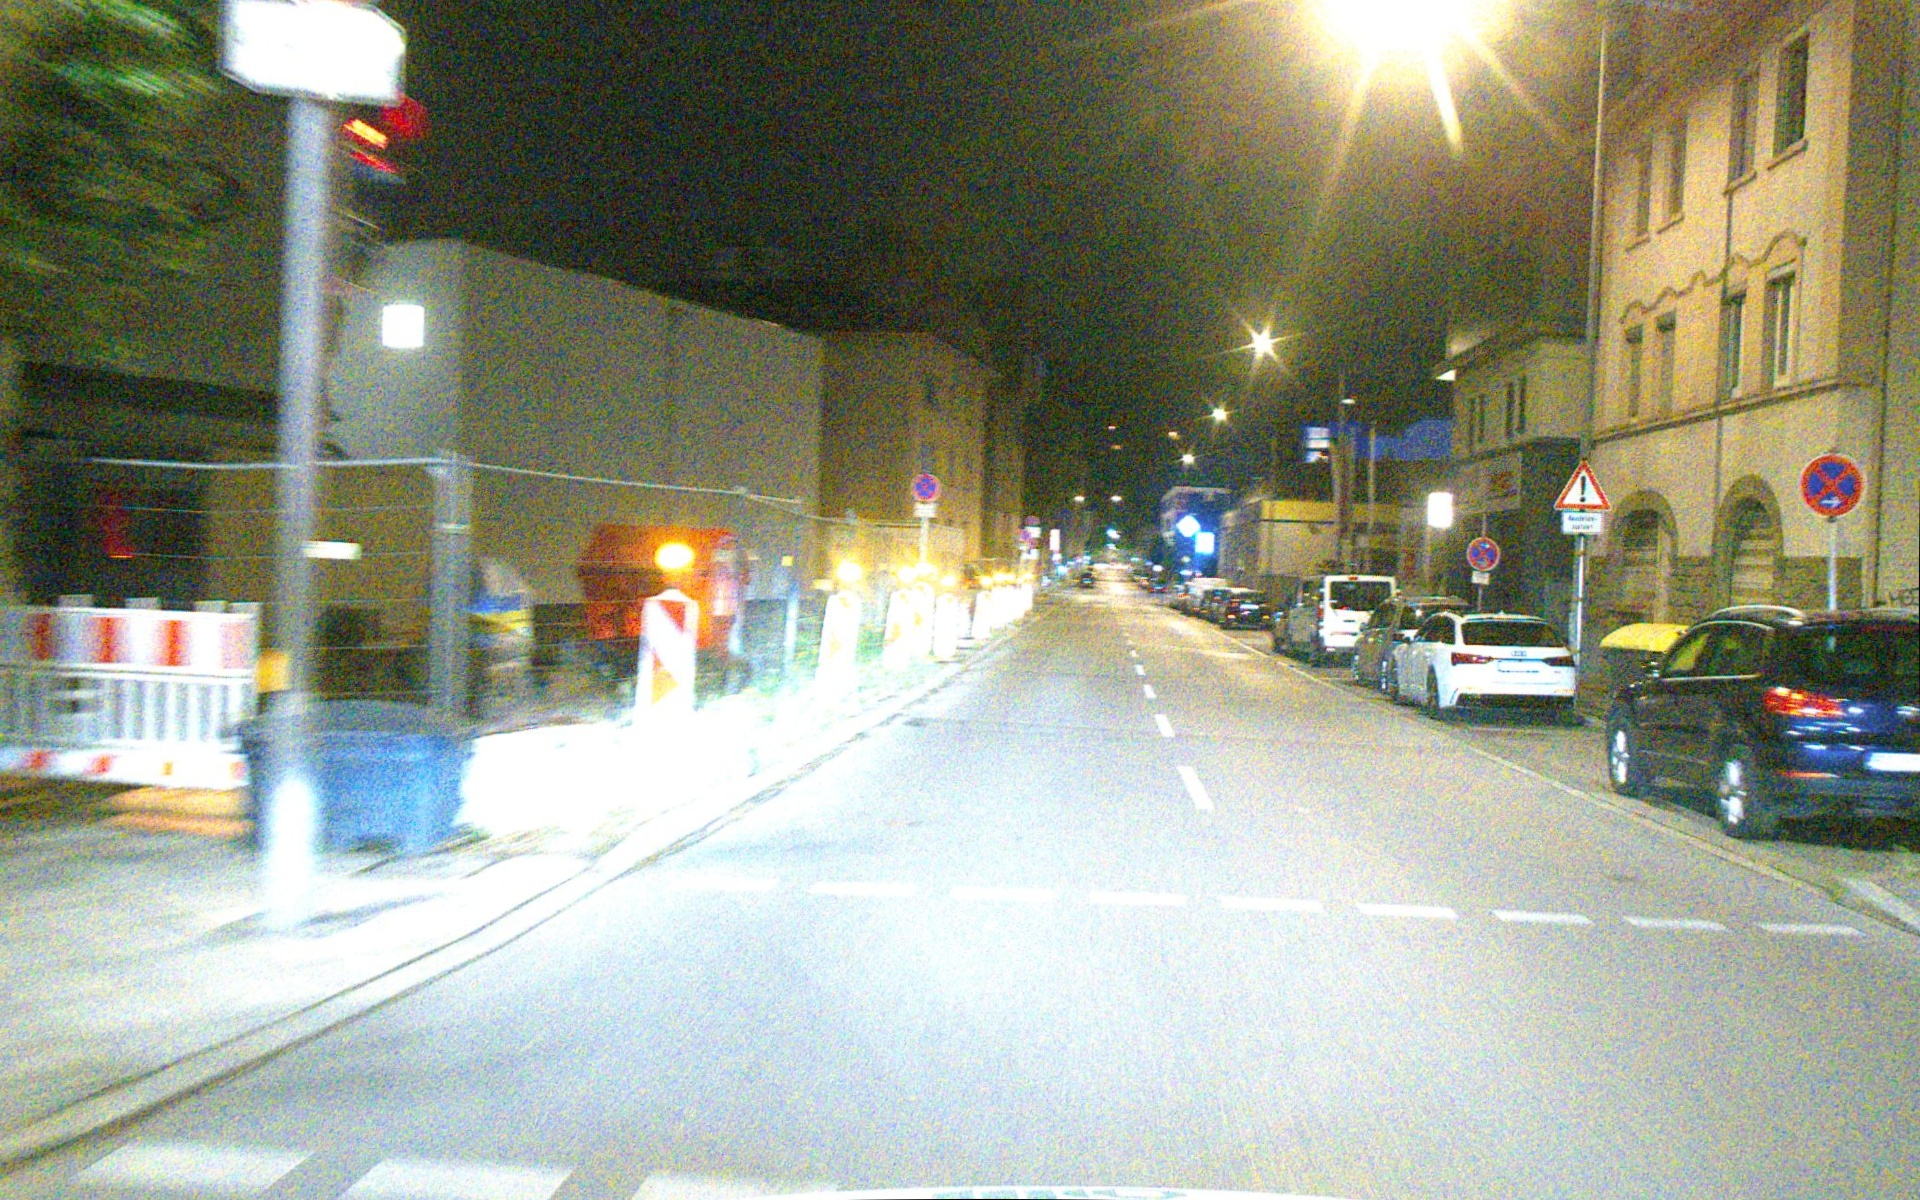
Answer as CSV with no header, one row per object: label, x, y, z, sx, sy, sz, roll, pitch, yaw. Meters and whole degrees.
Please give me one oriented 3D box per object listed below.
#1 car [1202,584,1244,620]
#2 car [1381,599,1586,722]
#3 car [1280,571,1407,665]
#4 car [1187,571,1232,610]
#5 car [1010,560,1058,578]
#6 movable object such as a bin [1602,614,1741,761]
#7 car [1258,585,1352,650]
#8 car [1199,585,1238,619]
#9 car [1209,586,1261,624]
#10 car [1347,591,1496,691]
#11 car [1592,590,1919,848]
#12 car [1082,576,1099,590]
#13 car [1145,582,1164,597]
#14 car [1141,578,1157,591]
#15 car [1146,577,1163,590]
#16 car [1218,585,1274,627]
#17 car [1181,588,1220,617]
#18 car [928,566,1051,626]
car,11.719,0.082,73.728,1.561,1.492,3.721,2,1,5
car,7.338,0.774,23.666,1.707,1.535,4.836,1,0,4
car,8.637,0.354,37.728,2.028,1.962,5.374,1,0,5
car,12.717,-0.499,84.458,1.763,1.907,4.775,0,1,2
car,6.968,-2.945,155.194,4.346,1.475,2.001,3,0,5
movable object such as a bin,7.474,0.889,17.442,0.918,1.457,1.339,0,0,2
car,9.048,0.424,43.626,1.781,1.627,4.222,0,0,3
car,12.285,0.088,78.672,1.561,1.492,3.894,2,1,5
car,11.338,0.196,68.423,1.741,1.451,3.894,2,1,4
car,7.969,0.659,28.908,1.707,1.593,4.213,1,0,4
car,6.587,0.792,13.220,1.707,1.712,4.260,1,0,4
car,15.584,-2.059,197.966,1.951,1.528,4.003,2,1,5
car,21.051,-1.149,179.014,1.951,1.542,4.003,3,1,6
car,23.930,-1.945,209.325,1.951,1.546,4.003,3,1,6
car,23.799,-1.992,202.750,1.951,1.546,4.003,3,1,6
car,10.685,0.214,62.025,1.741,1.451,4.484,2,1,6
car,12.975,0.114,89.275,1.778,1.452,4.191,1,1,4
car,1.046,-0.148,58.336,3.904,1.922,1.910,3,0,18
